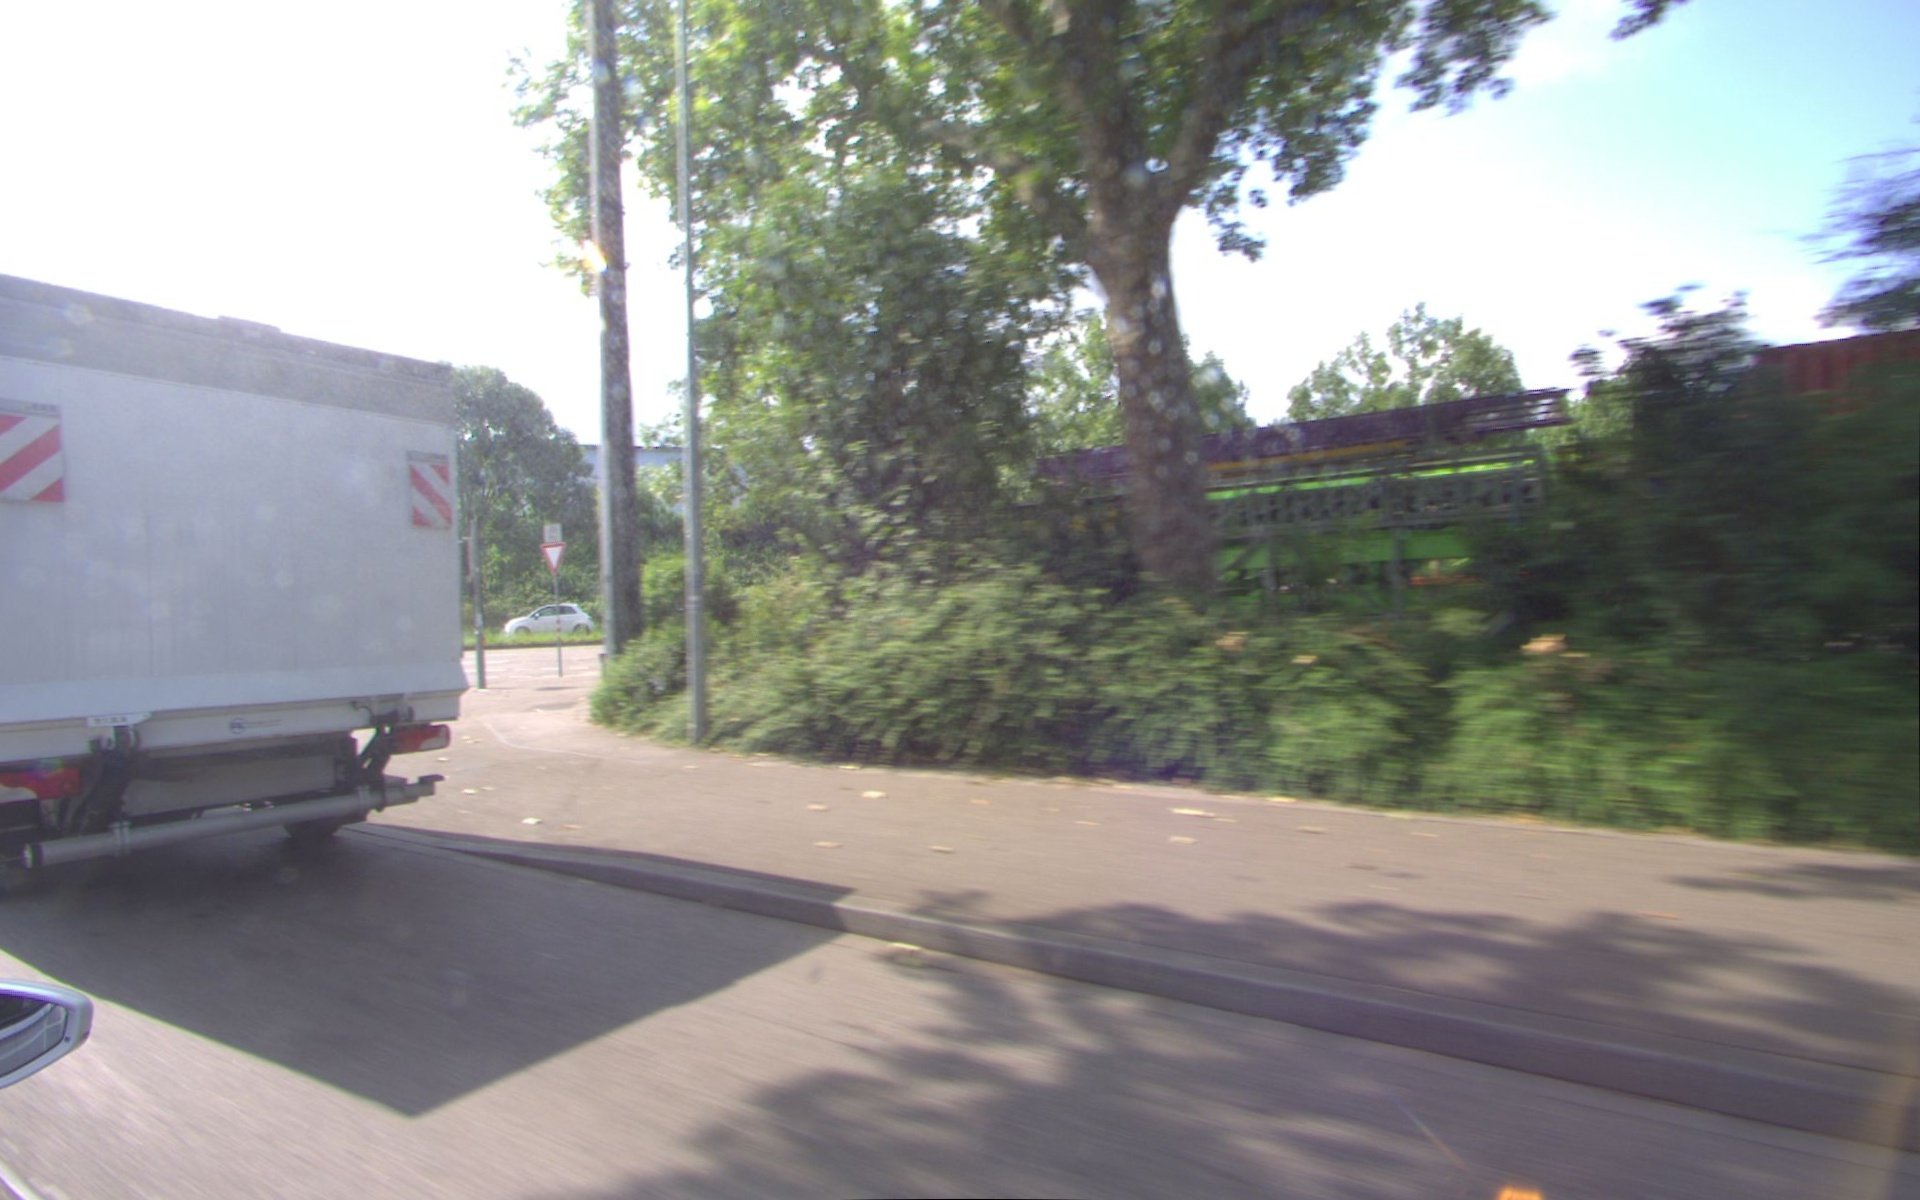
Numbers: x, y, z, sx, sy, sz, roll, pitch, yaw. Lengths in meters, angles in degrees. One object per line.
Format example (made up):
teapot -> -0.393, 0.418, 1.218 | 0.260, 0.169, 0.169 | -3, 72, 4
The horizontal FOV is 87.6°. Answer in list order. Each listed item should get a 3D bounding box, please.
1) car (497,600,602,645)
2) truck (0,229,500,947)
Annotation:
car -> -17.237, 0.934, 42.129 | 3.959, 1.772, 1.970 | -1, 0, -23
truck -> -6.052, 0.033, 7.023 | 5.946, 3.161, 2.441 | -2, -1, 35
